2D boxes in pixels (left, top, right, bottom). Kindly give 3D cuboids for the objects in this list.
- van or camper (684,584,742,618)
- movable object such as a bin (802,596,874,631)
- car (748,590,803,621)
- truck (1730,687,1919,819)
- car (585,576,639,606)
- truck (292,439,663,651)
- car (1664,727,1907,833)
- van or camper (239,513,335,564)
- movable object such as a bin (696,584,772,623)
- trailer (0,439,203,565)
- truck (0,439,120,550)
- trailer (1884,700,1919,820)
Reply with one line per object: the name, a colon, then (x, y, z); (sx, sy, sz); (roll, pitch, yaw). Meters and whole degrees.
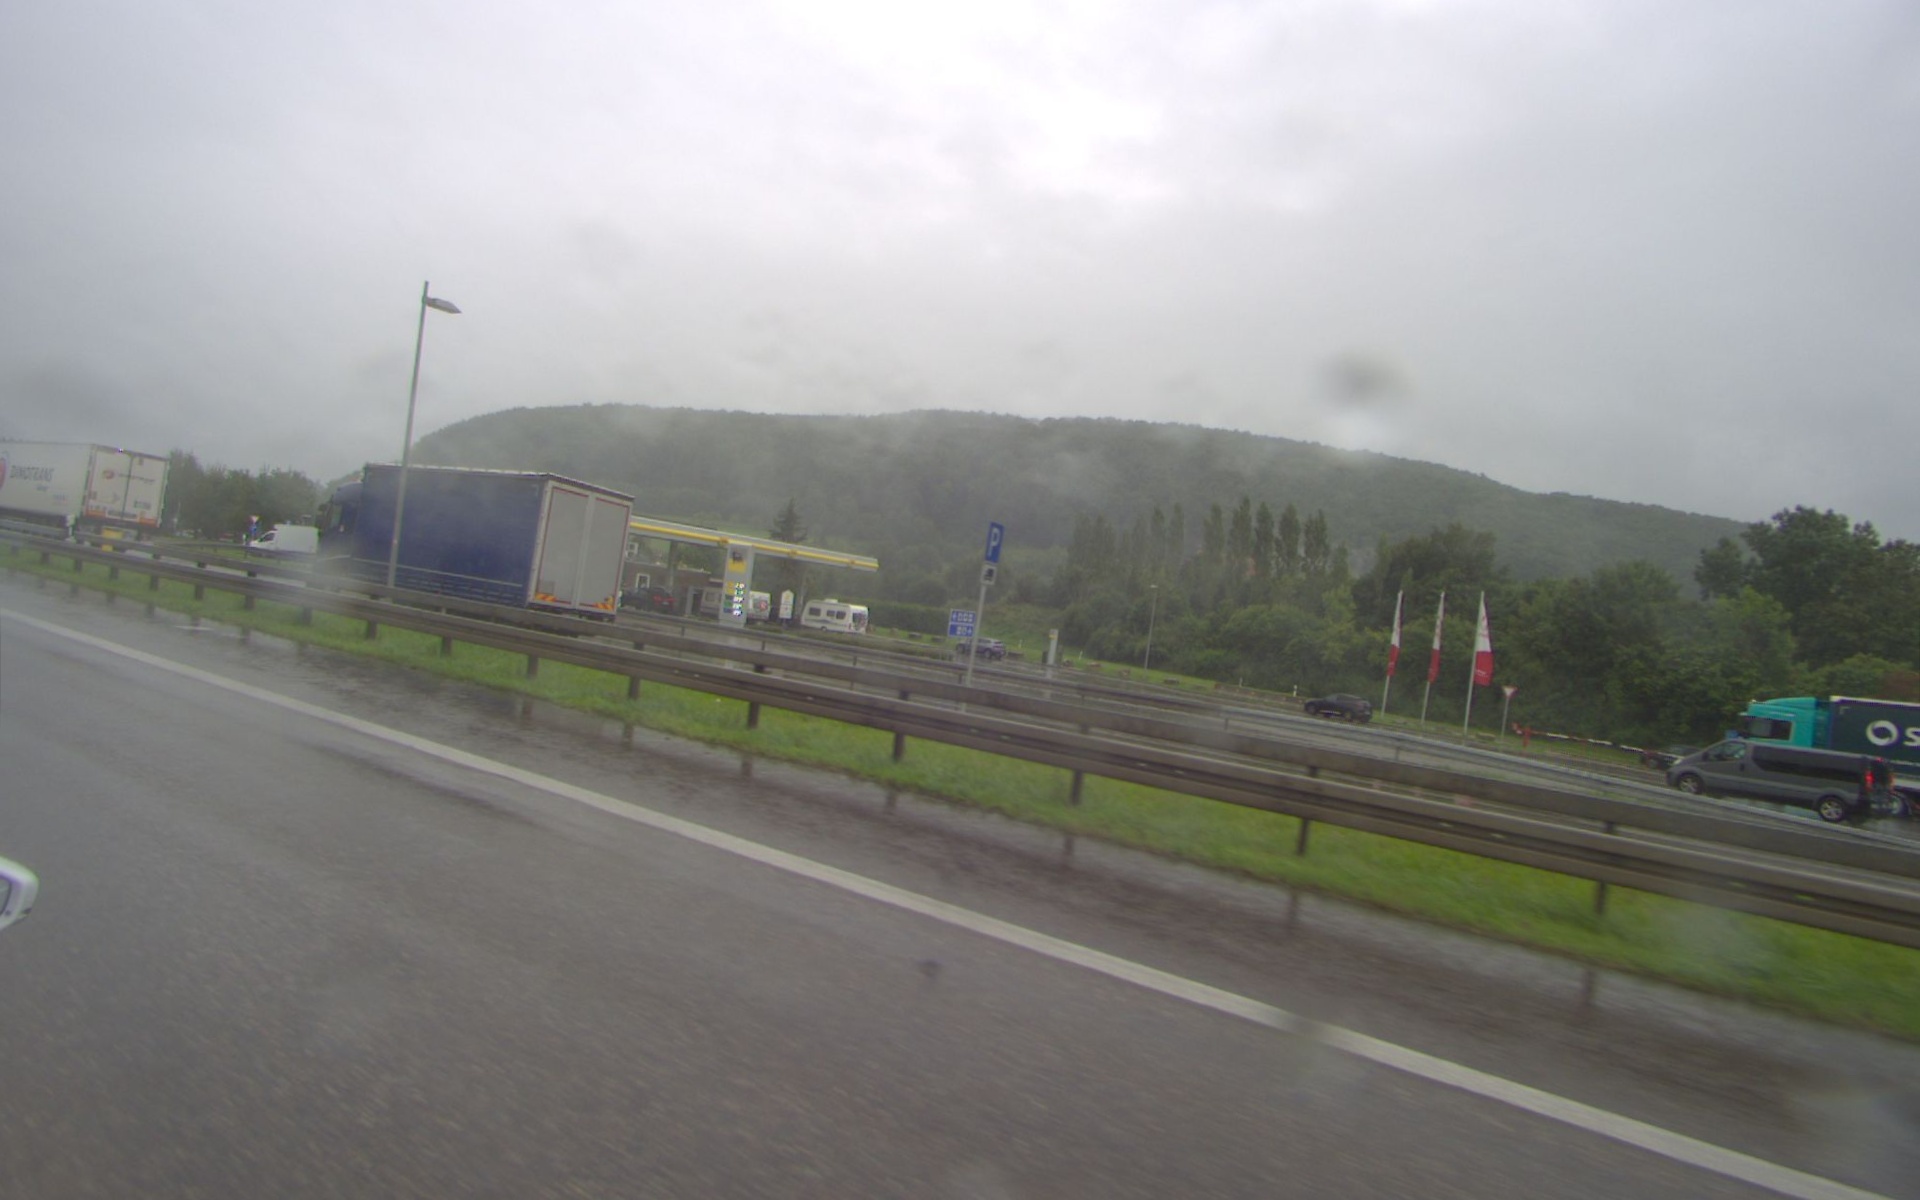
van or camper: (-19.019, 0.050, 77.496); (3.934, 2.037, 1.998); (6, -2, 32)
movable object such as a bin: (-9.780, 1.085, 80.450); (5.294, 2.037, 2.171); (6, -2, 32)
car: (-15.246, 0.445, 83.241); (3.934, 2.037, 1.998); (6, -2, 32)
truck: (32.908, 5.594, 36.274); (2.723, 3.911, 7.493); (8, -2, -24)
car: (-31.314, -0.832, 90.501); (3.925, 2.036, 2.003); (7, -2, 19)
truck: (-13.327, -1.648, 27.213); (10.868, 4.452, 3.408); (7, -2, 33)
car: (23.906, 5.151, 29.333); (1.983, 2.037, 5.005); (8, -1, -36)
van or camper: (-54.761, -4.967, 81.969); (6.061, 3.094, 2.000); (8, -1, -2)
movable object such as a bin: (-17.153, 0.264, 76.381); (5.629, 2.214, 1.998); (6, -2, 32)
trailer: (-37.140, -4.283, 43.019); (11.727, 4.310, 3.522); (6, -2, 33)
truck: (-43.098, -4.949, 46.895); (7.689, 4.268, 3.534); (6, -2, 33)
trailer: (35.747, 5.721, 29.974); (2.759, 3.945, 11.687); (8, -2, -24)
